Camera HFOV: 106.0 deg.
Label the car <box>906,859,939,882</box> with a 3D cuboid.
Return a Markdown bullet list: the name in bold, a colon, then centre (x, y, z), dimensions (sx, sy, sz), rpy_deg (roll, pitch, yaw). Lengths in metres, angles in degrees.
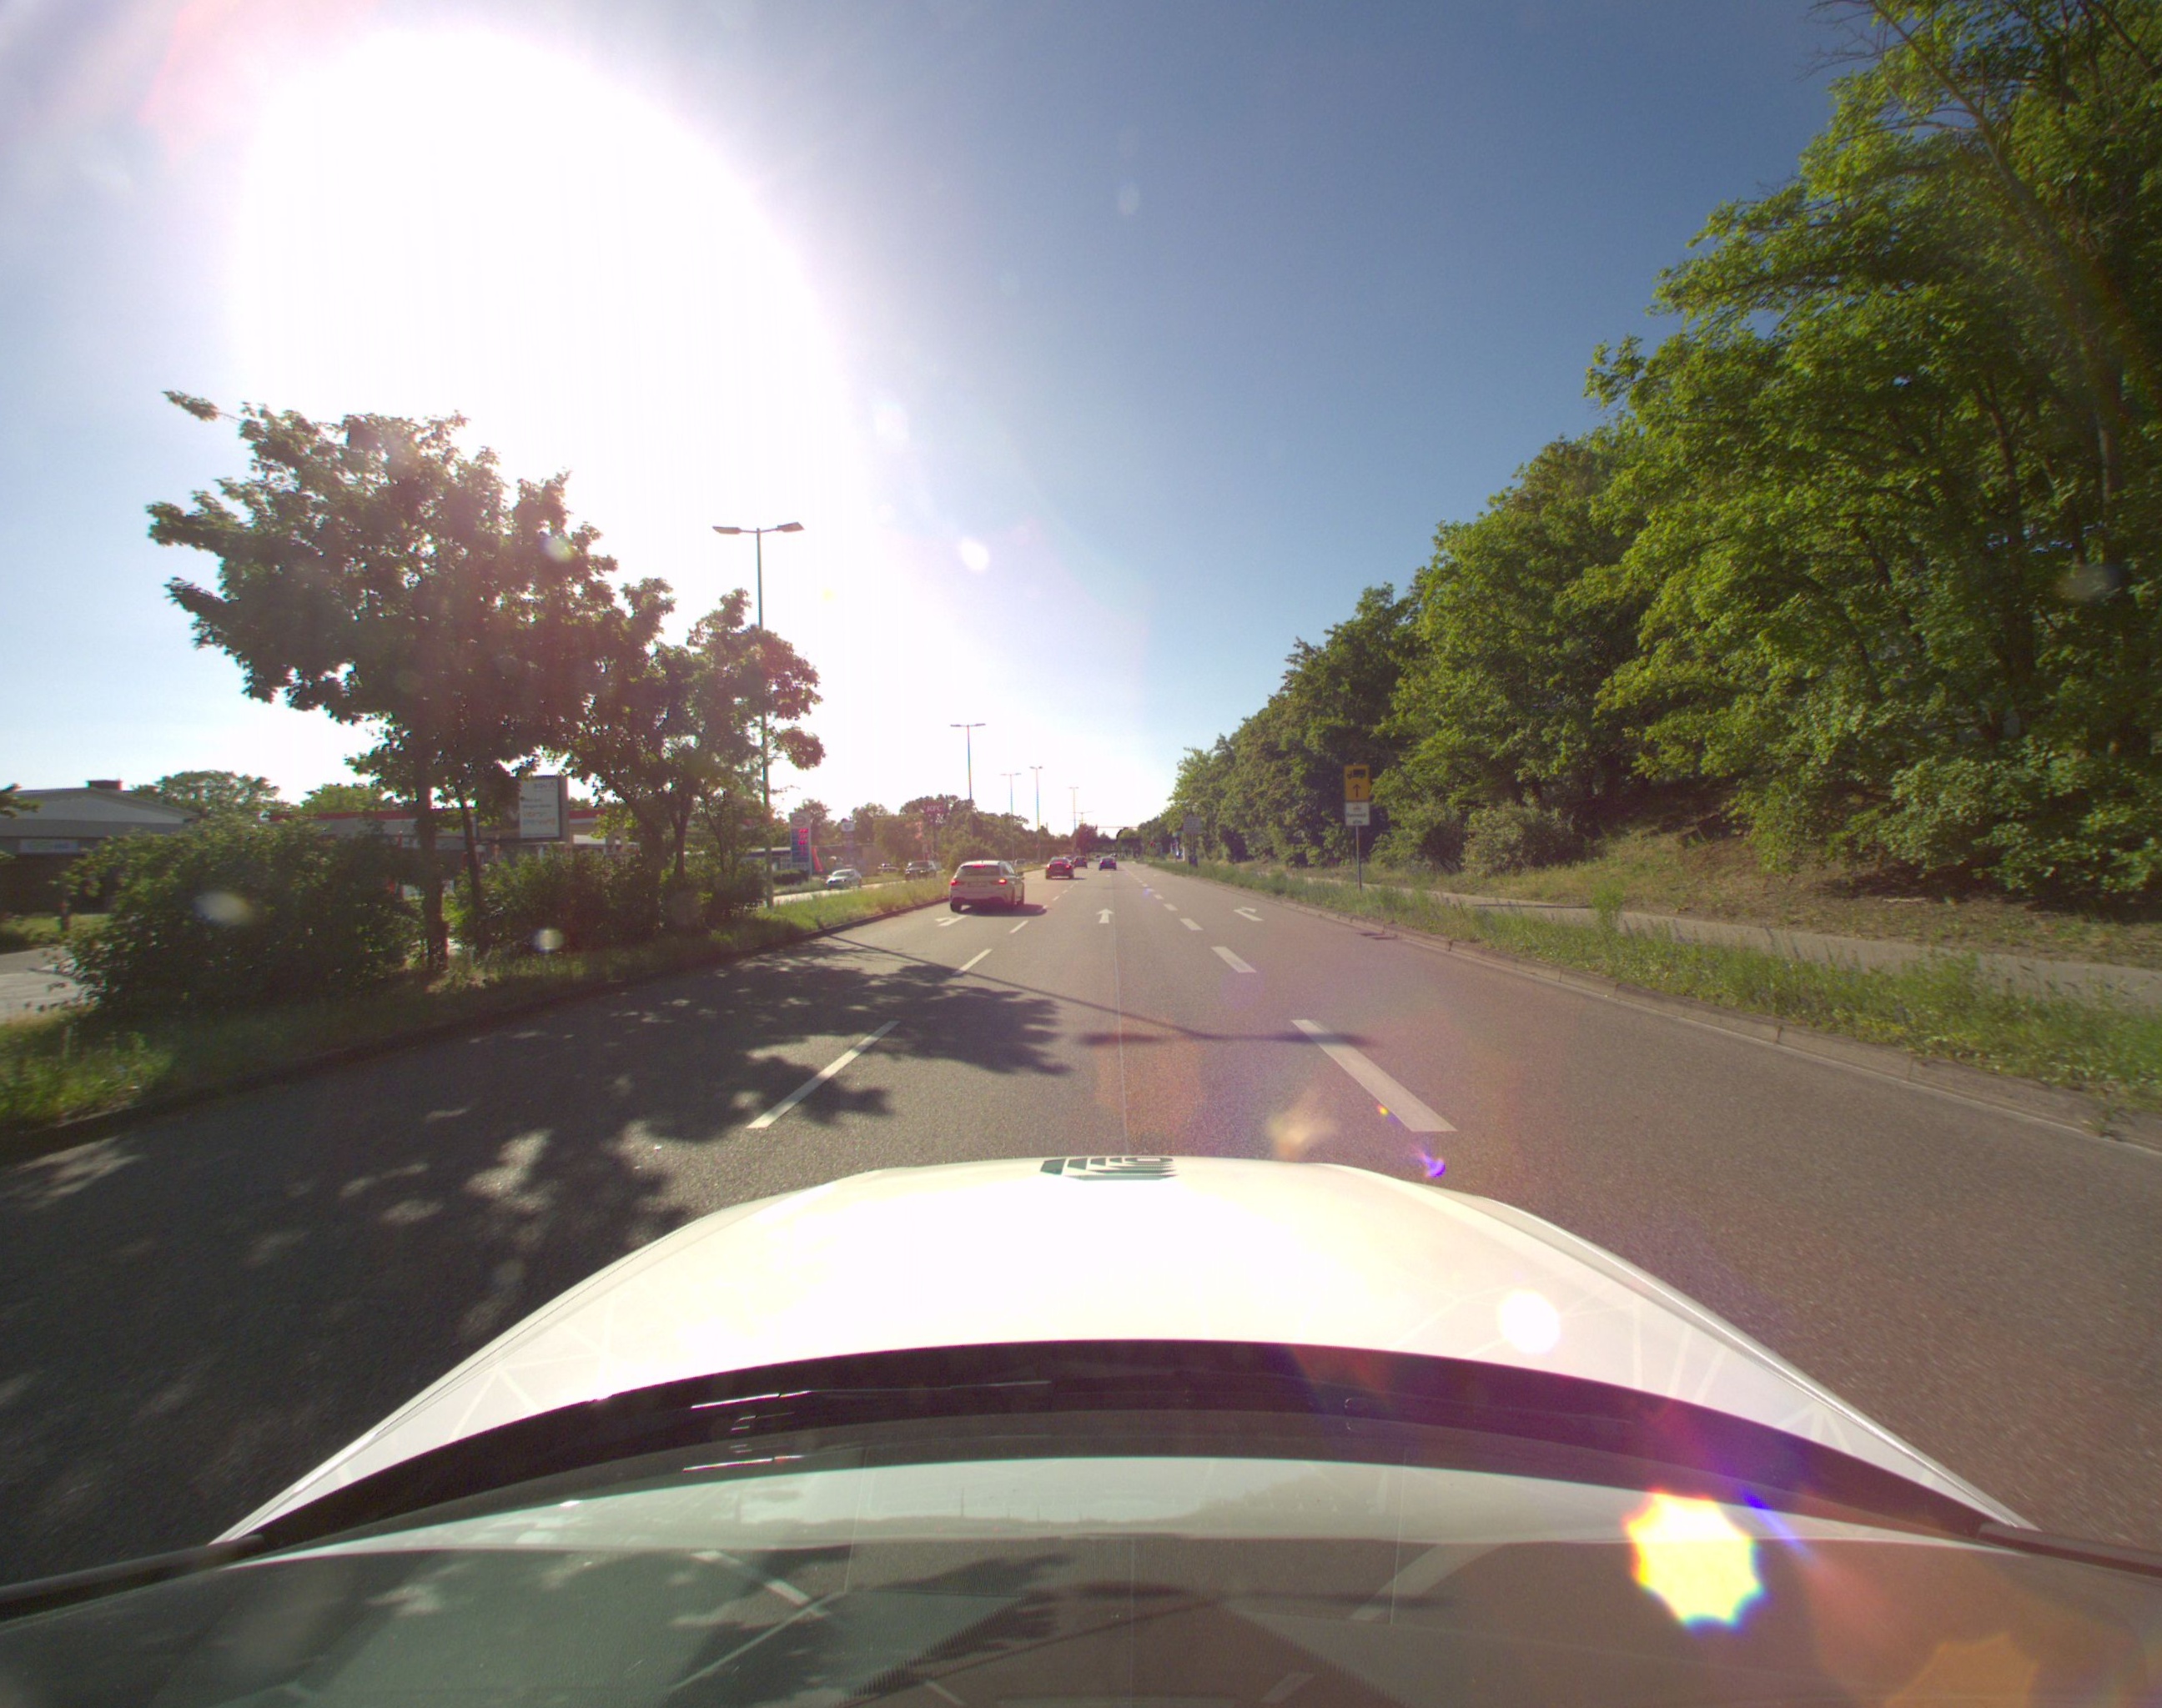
- **car**: centre (-13.963, 1.402, 72.005), dimensions (1.733, 1.802, 4.674), rpy_deg (-5, 0, 2)

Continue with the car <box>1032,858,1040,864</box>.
- **car**: centre (-11.657, 1.867, 212.214), dimensions (1.697, 1.402, 3.725), rpy_deg (-2, 0, 2)

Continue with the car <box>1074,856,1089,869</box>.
- **car**: centre (0.084, 1.075, 107.045), dimensions (1.855, 1.565, 4.549), rpy_deg (-2, 0, 2)

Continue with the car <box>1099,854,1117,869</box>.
- **car**: centre (2.984, 0.778, 89.307), dimensions (1.855, 1.499, 4.338), rpy_deg (-2, 0, 2)

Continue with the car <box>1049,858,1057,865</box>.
- **car**: centre (-6.472, 1.756, 190.368), dimensions (1.529, 1.581, 3.673), rpy_deg (-3, 0, 2)

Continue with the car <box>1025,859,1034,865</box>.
- **car**: centre (-12.452, 1.917, 197.552), dimensions (1.697, 1.402, 3.725), rpy_deg (-2, 0, 2)

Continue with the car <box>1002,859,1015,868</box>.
- **car**: centre (-11.746, 1.515, 131.785), dimensions (1.529, 1.452, 3.673), rpy_deg (-3, 0, 2)

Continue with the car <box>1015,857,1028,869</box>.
- **car**: centre (-8.266, 1.226, 113.308), dimensions (1.487, 1.508, 3.488), rpy_deg (-2, 0, 2)

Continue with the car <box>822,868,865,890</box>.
- **car**: centre (-17.799, 1.851, 61.235), dimensions (1.733, 1.455, 4.211), rpy_deg (-4, 0, 2)

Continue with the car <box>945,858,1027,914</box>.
- **car**: centre (-2.767, 0.893, 24.763), dimensions (1.855, 1.455, 4.549), rpy_deg (0, 0, 1)

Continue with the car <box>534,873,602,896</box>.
- **car**: centre (-39.246, 2.325, 62.339), dimensions (3.967, 1.475, 2.003), rpy_deg (-2, 0, 6)

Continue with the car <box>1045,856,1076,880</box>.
- **car**: centre (-1.365, 0.948, 56.630), dimensions (1.855, 1.455, 4.549), rpy_deg (-3, 0, 2)
